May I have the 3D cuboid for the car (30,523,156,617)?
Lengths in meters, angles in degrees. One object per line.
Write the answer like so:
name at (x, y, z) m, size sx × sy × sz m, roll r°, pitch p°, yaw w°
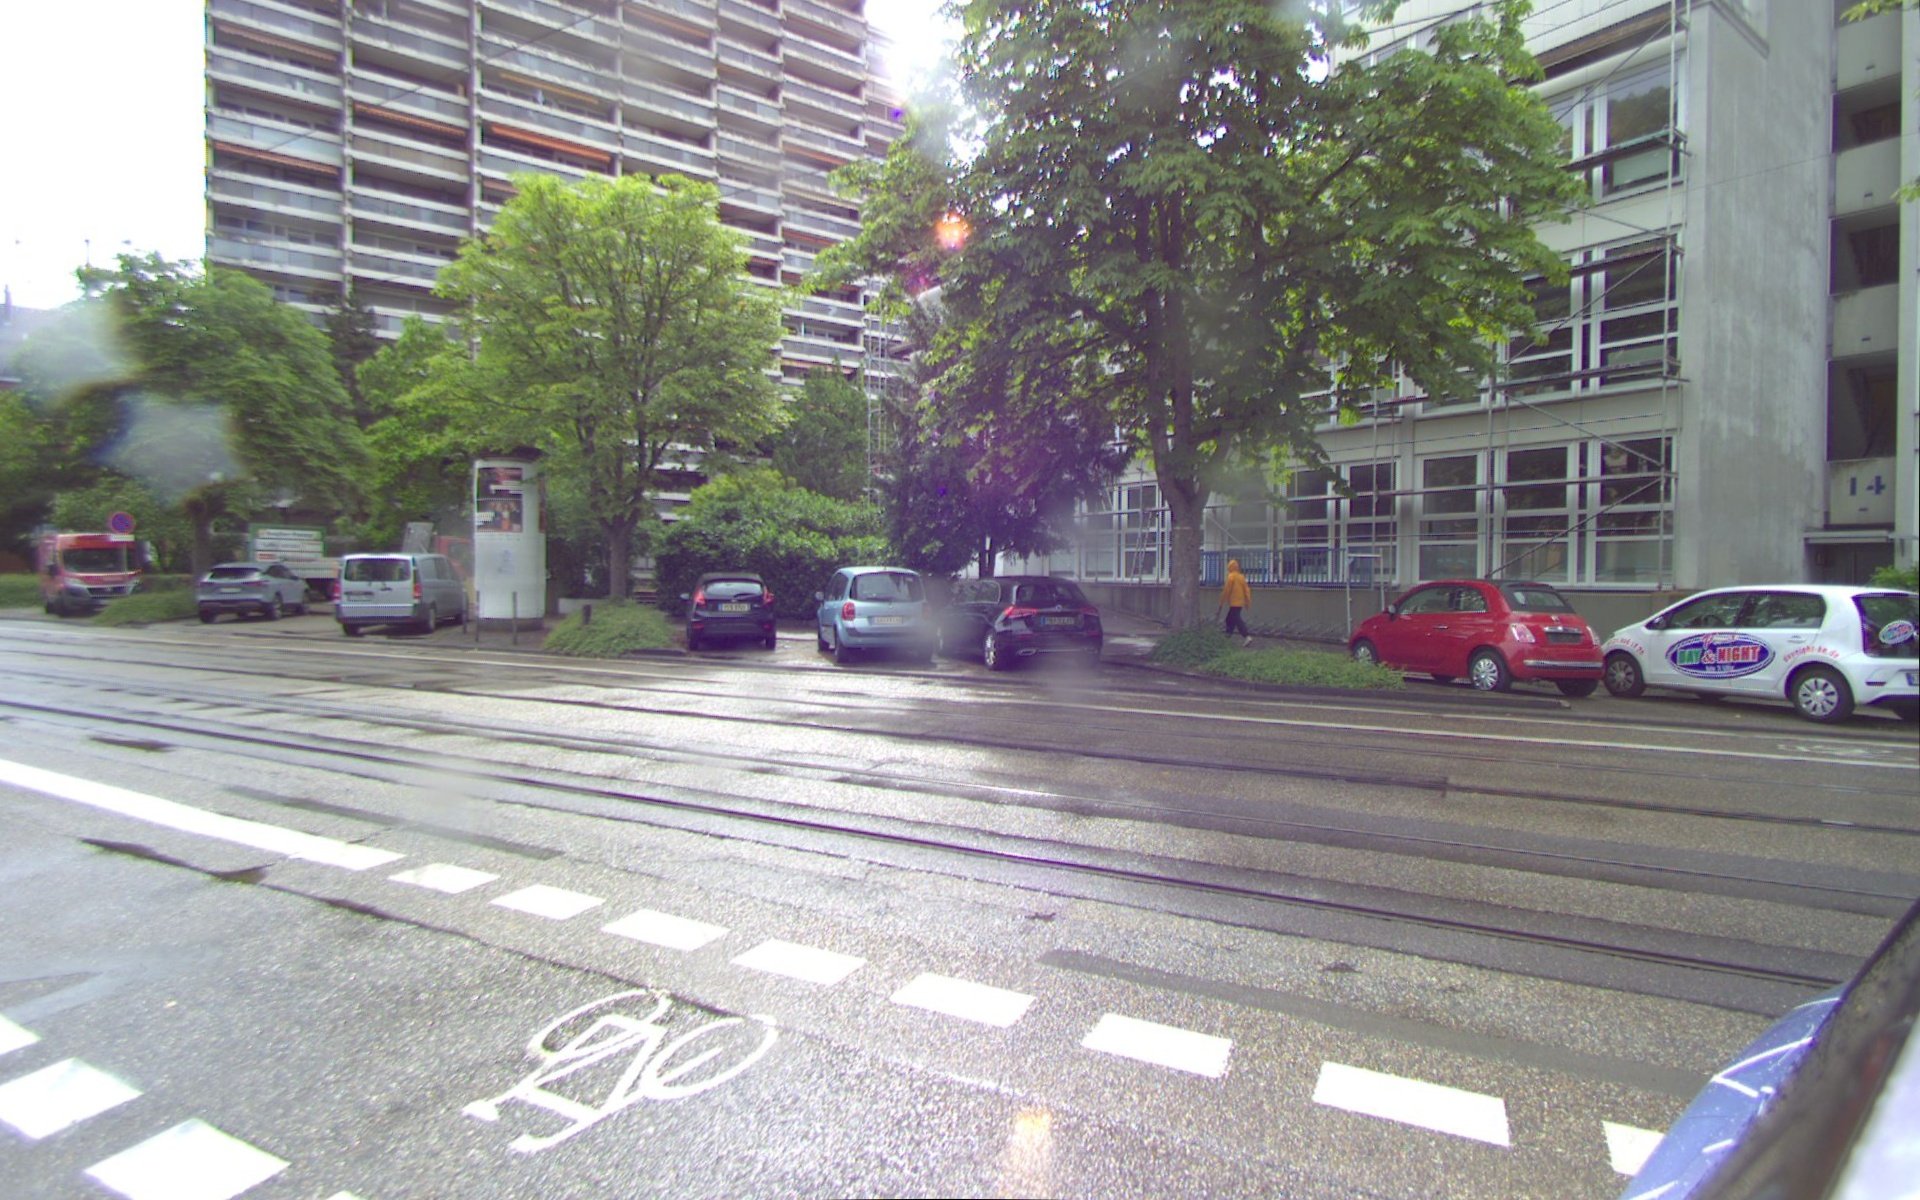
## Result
car at (-26.905, -0.910, 31.334) m, size 5.463 × 2.667 × 2.267 m, roll 2°, pitch 0°, yaw 42°

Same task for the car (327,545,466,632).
car at (-13.669, -0.293, 24.837) m, size 1.897 × 1.920 × 4.655 m, roll 1°, pitch 1°, yaw -15°

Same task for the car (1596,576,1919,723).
car at (9.671, 0.462, 11.974) m, size 1.675 × 1.470 × 3.415 m, roll 0°, pitch 1°, yaw -14°

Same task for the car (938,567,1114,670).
car at (0.946, 0.231, 16.525) m, size 1.705 × 1.488 × 3.658 m, roll 0°, pitch 1°, yaw -17°

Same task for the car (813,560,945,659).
car at (-1.548, 0.113, 18.056) m, size 1.672 × 1.570 × 3.658 m, roll 0°, pitch 1°, yaw -16°

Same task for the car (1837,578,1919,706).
car at (12.390, 0.504, 11.065) m, size 1.779 × 1.500 × 3.985 m, roll 0°, pitch 0°, yaw -10°

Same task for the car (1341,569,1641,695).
car at (7.076, 0.368, 13.880) m, size 1.705 × 1.488 × 3.415 m, roll 2°, pitch 1°, yaw -17°

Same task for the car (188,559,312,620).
car at (-20.100, -0.345, 28.830) m, size 1.748 × 1.584 × 4.057 m, roll 0°, pitch 2°, yaw -18°

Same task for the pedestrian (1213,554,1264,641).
pedestrian at (5.756, -0.042, 20.926) m, size 0.692 × 1.765 × 0.841 m, roll 1°, pitch -1°, yaw -13°

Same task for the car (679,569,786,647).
car at (-4.638, 0.108, 20.309) m, size 1.732 × 1.414 × 3.658 m, roll 0°, pitch 1°, yaw -18°
